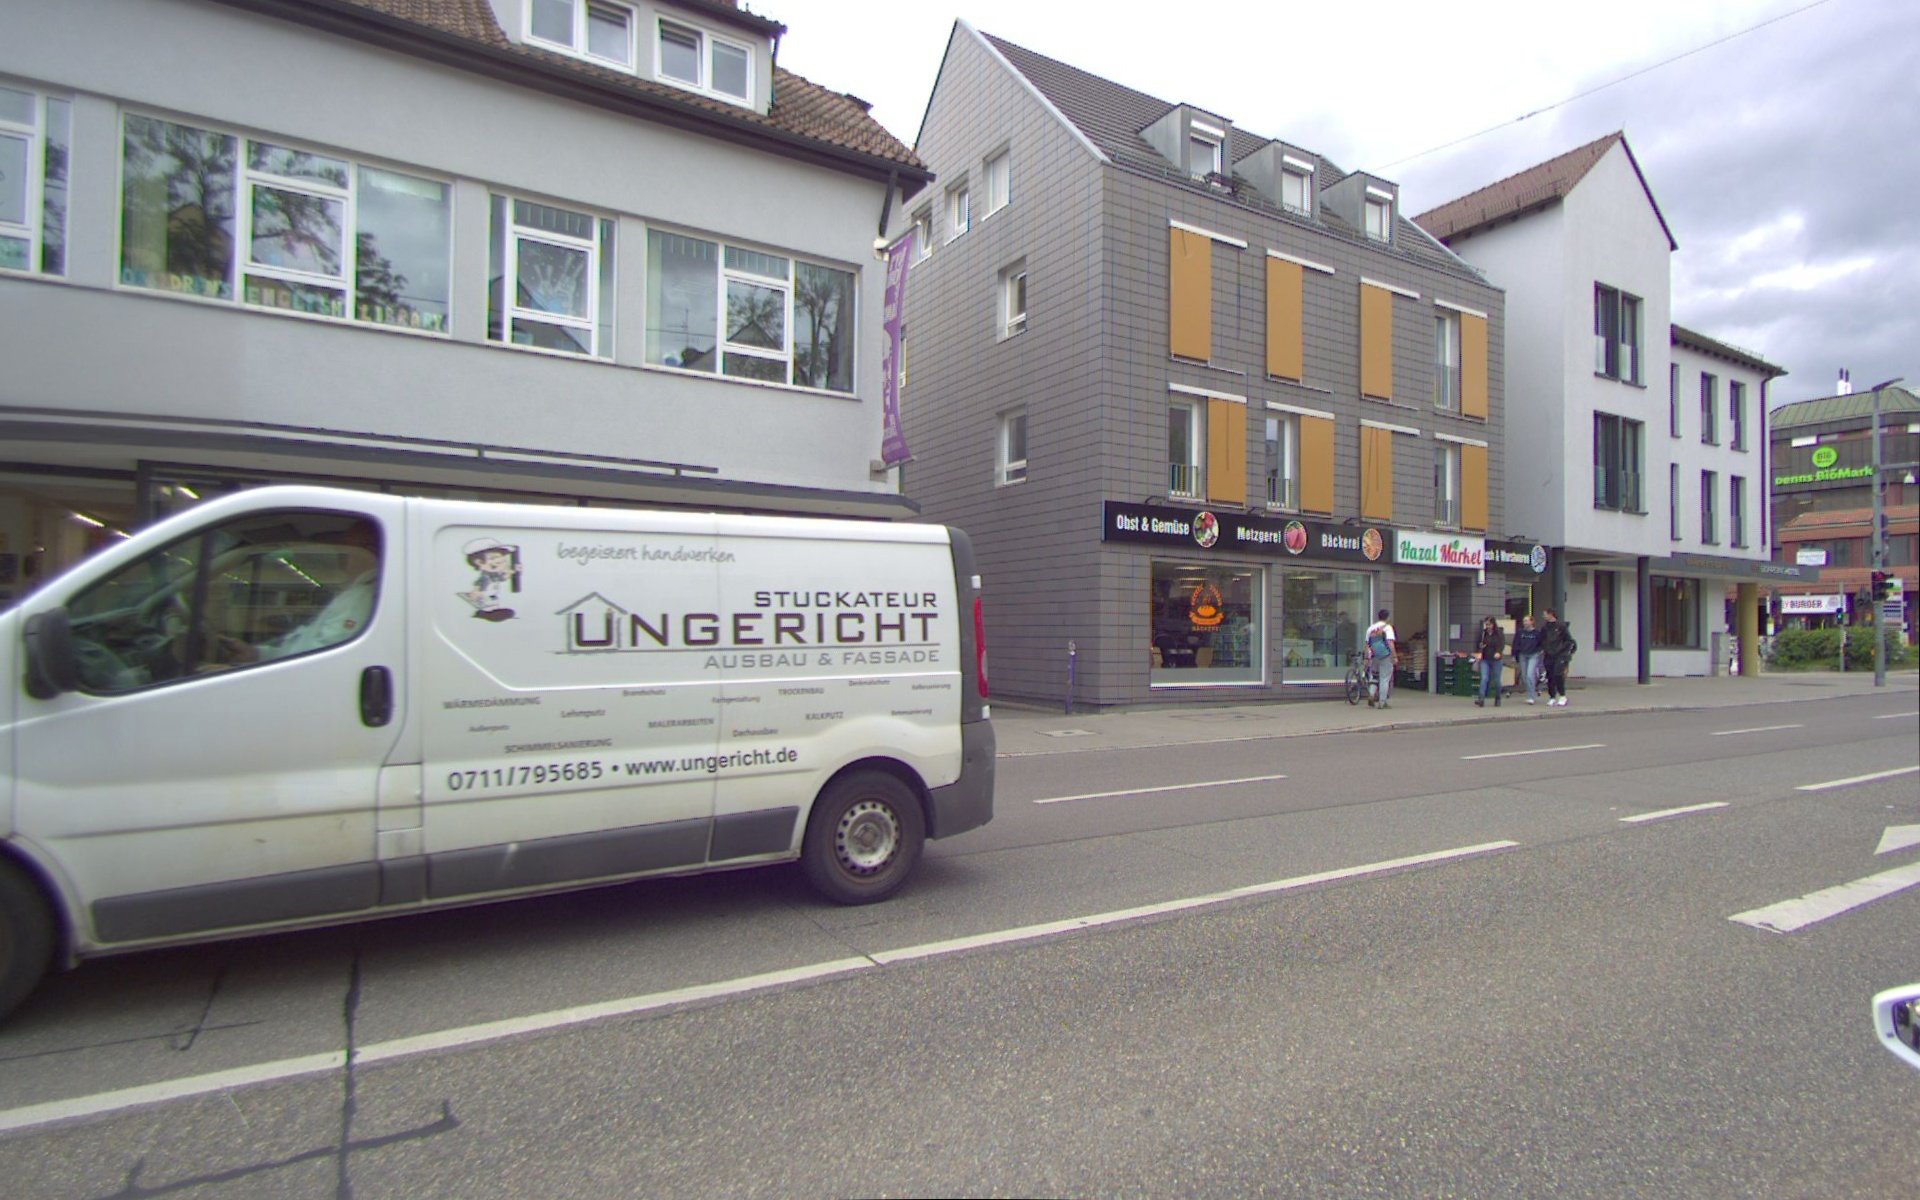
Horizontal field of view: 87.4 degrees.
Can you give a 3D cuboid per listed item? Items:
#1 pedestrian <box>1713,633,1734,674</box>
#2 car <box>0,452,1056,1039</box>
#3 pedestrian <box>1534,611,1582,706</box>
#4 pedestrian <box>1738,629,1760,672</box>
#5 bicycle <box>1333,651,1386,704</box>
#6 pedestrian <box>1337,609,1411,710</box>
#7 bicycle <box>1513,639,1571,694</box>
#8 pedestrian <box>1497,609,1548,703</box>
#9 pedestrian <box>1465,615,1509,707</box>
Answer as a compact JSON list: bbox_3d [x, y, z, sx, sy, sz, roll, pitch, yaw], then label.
[{"bbox_3d":[32.012,2.229,42.116,0.654,1.671,0.790,0,-1,39],"label":"pedestrian"},{"bbox_3d":[-2.152,0.535,5.057,5.100,1.913,1.983,1,-3,-32],"label":"car"},{"bbox_3d":[11.520,1.118,19.352,0.640,1.799,0.565,1,-1,-32],"label":"pedestrian"},{"bbox_3d":[31.567,1.997,40.195,0.694,1.680,0.936,0,-1,39],"label":"pedestrian"},{"bbox_3d":[7.616,1.462,19.137,1.472,0.966,0.323,2,-2,-42],"label":"bicycle"},{"bbox_3d":[7.445,1.046,18.061,0.969,1.728,0.750,1,2,-30],"label":"pedestrian"},{"bbox_3d":[13.276,1.490,22.893,1.807,1.202,0.384,1,-2,-34],"label":"bicycle"},{"bbox_3d":[11.120,1.099,19.866,0.642,1.814,0.677,1,-1,-35],"label":"pedestrian"},{"bbox_3d":[9.850,1.126,18.771,0.643,1.672,0.557,0,-1,36],"label":"pedestrian"}]
